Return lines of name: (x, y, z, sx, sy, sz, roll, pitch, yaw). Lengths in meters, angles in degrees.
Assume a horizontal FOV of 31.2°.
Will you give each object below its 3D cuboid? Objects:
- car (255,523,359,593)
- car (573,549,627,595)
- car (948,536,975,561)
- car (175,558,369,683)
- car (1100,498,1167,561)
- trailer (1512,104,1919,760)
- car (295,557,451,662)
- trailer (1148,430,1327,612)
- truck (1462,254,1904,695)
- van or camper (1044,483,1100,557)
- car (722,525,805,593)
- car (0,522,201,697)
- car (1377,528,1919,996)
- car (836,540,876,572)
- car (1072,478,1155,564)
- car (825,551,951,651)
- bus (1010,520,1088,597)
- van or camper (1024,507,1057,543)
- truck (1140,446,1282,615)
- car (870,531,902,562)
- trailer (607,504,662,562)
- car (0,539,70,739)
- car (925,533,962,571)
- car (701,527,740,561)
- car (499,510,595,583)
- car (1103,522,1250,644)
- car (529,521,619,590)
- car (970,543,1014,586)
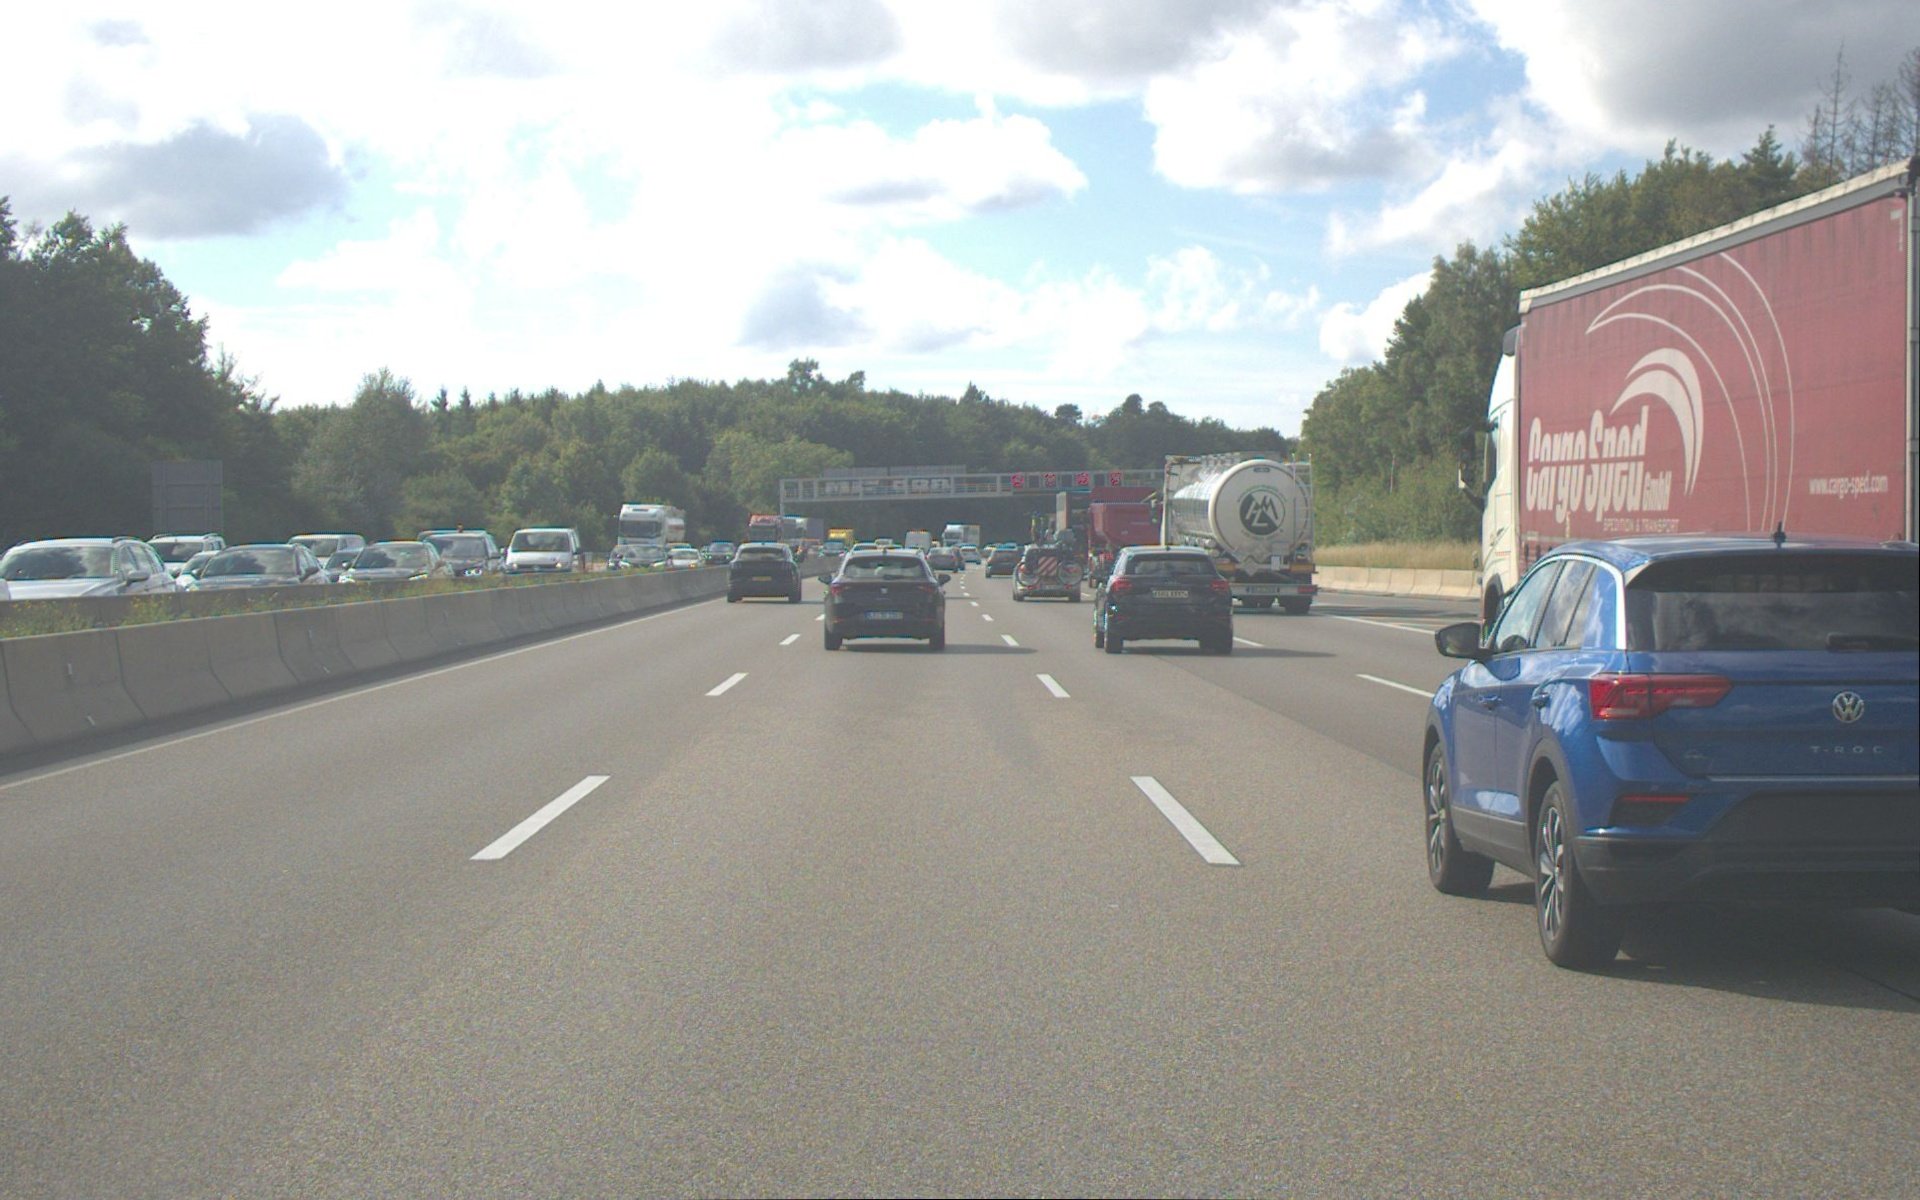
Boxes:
car: (-18.741, -1.181, 98.865, 1.993, 1.858, 4.550, 1, -1, 2)
car: (-16.589, -1.280, 158.438, 1.993, 2.007, 4.000, 1, -1, 1)
car: (0.093, -3.298, 219.395, 1.675, 1.587, 3.628, -1, 1, 1)
car: (-10.711, 0.336, 53.855, 1.993, 1.858, 4.550, 1, -1, 2)
car: (5.969, -2.405, 118.647, 1.993, 2.007, 4.000, 1, -1, -1)
trailer: (7.257, -0.915, 28.009, 3.038, 4.021, 13.890, 1, -1, -1)
car: (-10.822, 0.205, 63.683, 1.993, 1.858, 4.550, 1, -1, 2)
trailer: (6.456, -1.714, 82.002, 3.036, 4.002, 12.245, 0, 0, -1)
truck: (7.137, -1.122, 34.858, 3.080, 4.050, 6.069, 1, -1, -1)
van or camper: (5.030, -3.588, 155.458, 2.351, 3.133, 5.710, 1, -1, 1)
car: (-5.233, -1.113, 91.957, 1.993, 1.770, 4.000, -1, 1, 0)
car: (-10.213, 0.127, 39.181, 1.993, 1.858, 4.550, 1, -1, 2)
car: (2.964, 0.512, 13.651, 1.924, 1.536, 4.646, 0, 0, -2)
car: (-5.956, -2.520, 197.640, 2.154, 1.770, 4.000, 1, 0, 0)
car: (5.715, -2.918, 128.708, 2.866, 2.981, 5.149, 1, -1, 1)
car: (-1.083, 0.018, 50.137, 1.734, 1.360, 4.000, 1, 0, -2)
bus: (2.431, -1.124, 94.920, 1.993, 2.007, 4.000, 1, -1, 0)
van or camper: (5.575, -5.172, 238.578, 2.083, 2.484, 4.225, 0, 1, -1)
truck: (6.362, -1.703, 88.136, 3.045, 4.146, 7.127, 0, 0, -1)
car: (-4.877, -3.534, 226.854, 1.993, 2.007, 4.001, 1, 1, -3)
trailer: (-18.424, -3.756, 194.864, 2.284, 3.013, 7.605, 1, -1, 0)
car: (-9.901, 0.351, 31.946, 1.958, 1.858, 4.550, 1, -1, 2)
car: (-0.946, -2.720, 195.346, 1.993, 2.007, 4.000, -1, -1, -1)
car: (-14.318, -3.337, 205.729, 1.993, 2.007, 4.000, 0, 1, 1)
car: (-11.397, -1.457, 95.134, 1.993, 1.858, 4.550, 1, -1, 2)
car: (3.040, -0.226, 49.000, 1.799, 1.639, 4.000, 1, 0, 0)
car: (-11.241, -1.287, 100.414, 1.993, 1.858, 4.550, 1, -1, 2)
car: (1.541, -1.701, 167.026, 1.993, 2.007, 4.000, 1, 0, -1)
